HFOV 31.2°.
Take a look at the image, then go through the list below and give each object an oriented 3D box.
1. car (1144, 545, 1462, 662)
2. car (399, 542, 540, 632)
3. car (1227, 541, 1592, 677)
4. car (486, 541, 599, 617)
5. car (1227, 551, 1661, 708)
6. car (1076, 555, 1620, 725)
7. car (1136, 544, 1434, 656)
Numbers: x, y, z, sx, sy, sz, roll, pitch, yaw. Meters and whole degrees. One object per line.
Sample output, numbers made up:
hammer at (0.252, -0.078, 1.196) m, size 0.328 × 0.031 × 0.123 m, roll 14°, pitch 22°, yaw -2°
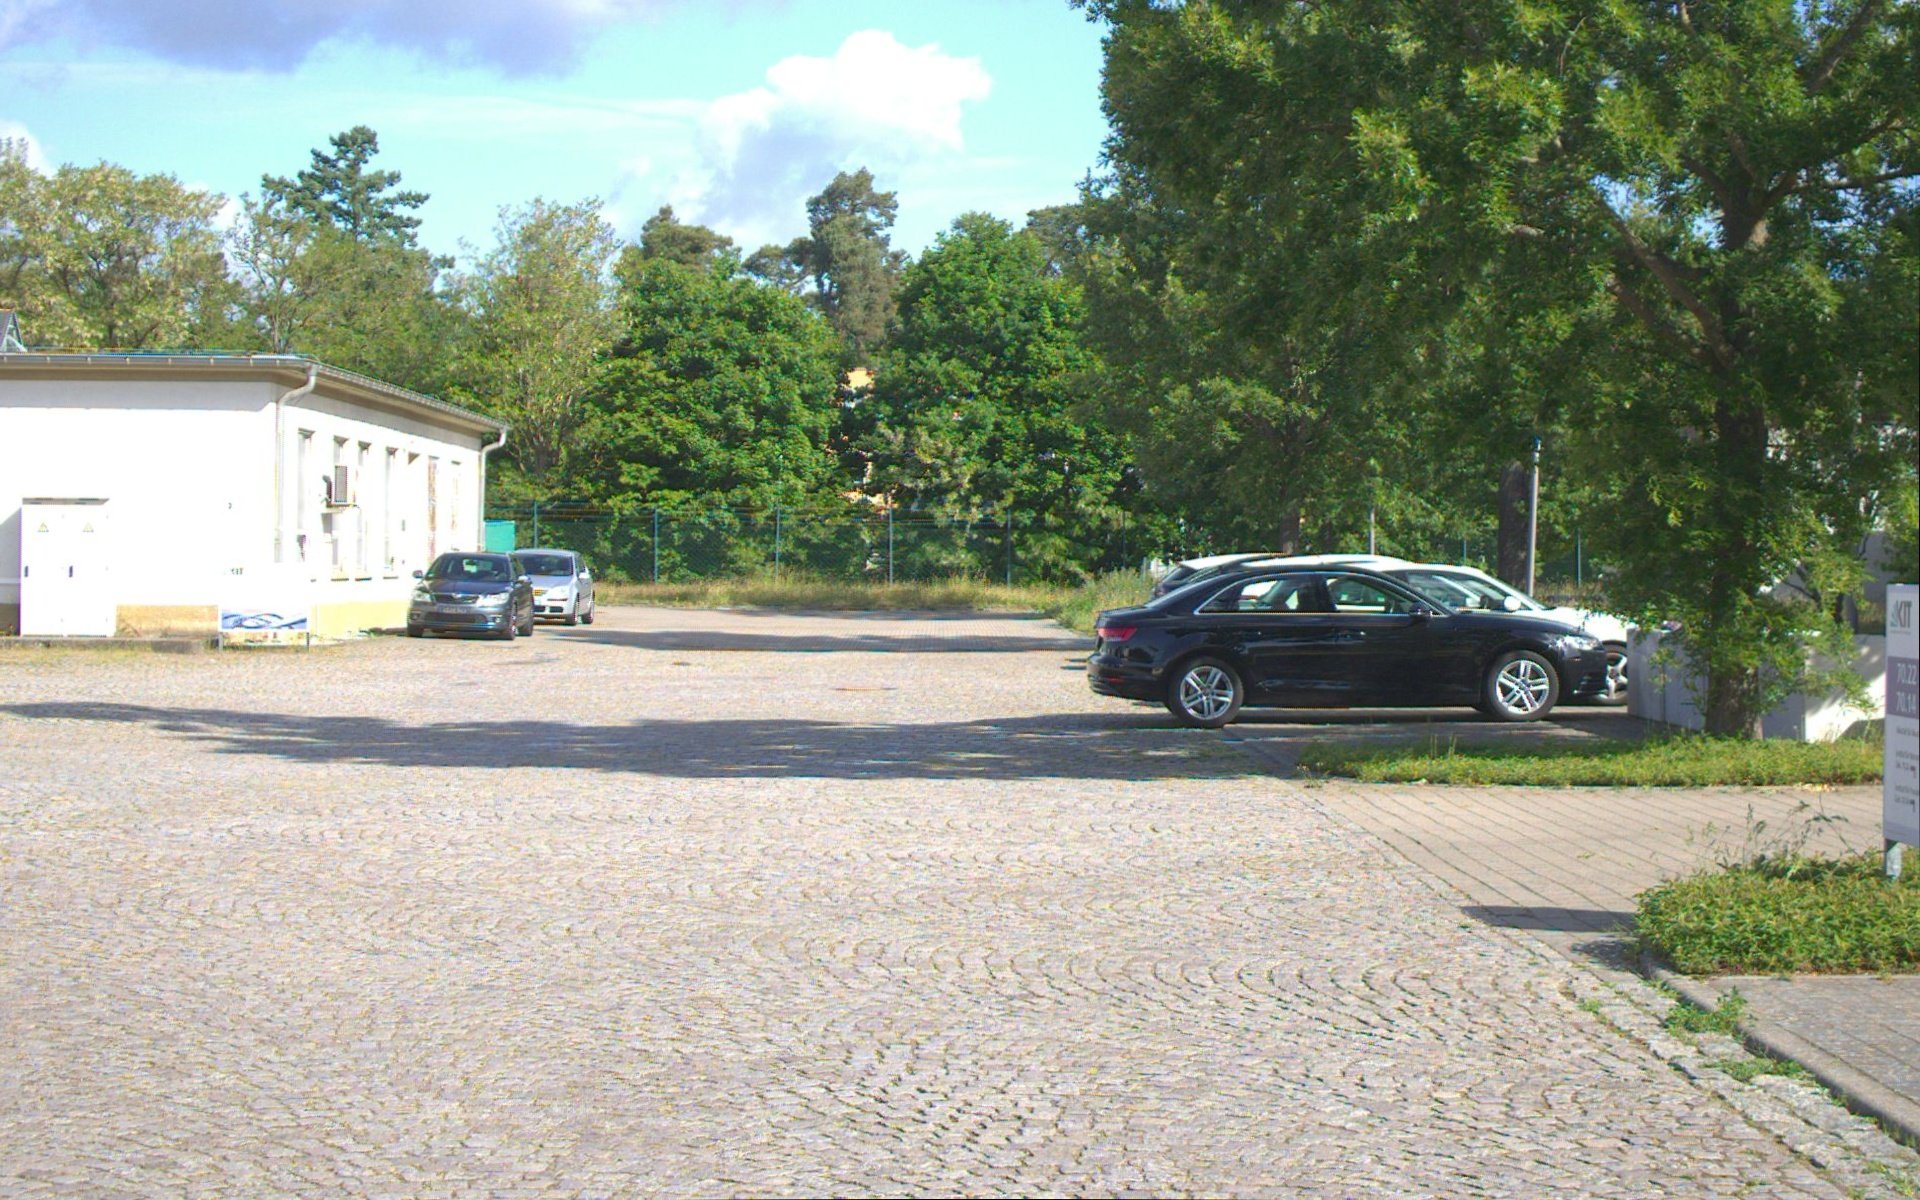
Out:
car at (4.382, 0.030, 44.307) m, size 3.912 × 1.412 × 1.692 m, roll -1°, pitch 1°, yaw 1°
car at (-8.250, -0.245, 58.076) m, size 1.763 × 1.430 × 3.992 m, roll 1°, pitch 1°, yaw 0°
car at (5.064, 0.083, 39.122) m, size 3.912 × 1.441 × 1.756 m, roll -1°, pitch 1°, yaw 1°
car at (-8.228, -0.429, 68.020) m, size 1.687 × 1.430 × 3.987 m, roll 1°, pitch 1°, yaw 0°
car at (4.743, 0.279, 34.097) m, size 4.139 × 1.455 × 1.691 m, roll -1°, pitch 1°, yaw 5°
car at (3.477, 0.341, 31.370) m, size 4.718 × 1.418 × 1.757 m, roll -1°, pitch 1°, yaw -1°
car at (4.422, -0.014, 47.220) m, size 3.912 × 1.430 × 1.796 m, roll -1°, pitch 1°, yaw 1°
